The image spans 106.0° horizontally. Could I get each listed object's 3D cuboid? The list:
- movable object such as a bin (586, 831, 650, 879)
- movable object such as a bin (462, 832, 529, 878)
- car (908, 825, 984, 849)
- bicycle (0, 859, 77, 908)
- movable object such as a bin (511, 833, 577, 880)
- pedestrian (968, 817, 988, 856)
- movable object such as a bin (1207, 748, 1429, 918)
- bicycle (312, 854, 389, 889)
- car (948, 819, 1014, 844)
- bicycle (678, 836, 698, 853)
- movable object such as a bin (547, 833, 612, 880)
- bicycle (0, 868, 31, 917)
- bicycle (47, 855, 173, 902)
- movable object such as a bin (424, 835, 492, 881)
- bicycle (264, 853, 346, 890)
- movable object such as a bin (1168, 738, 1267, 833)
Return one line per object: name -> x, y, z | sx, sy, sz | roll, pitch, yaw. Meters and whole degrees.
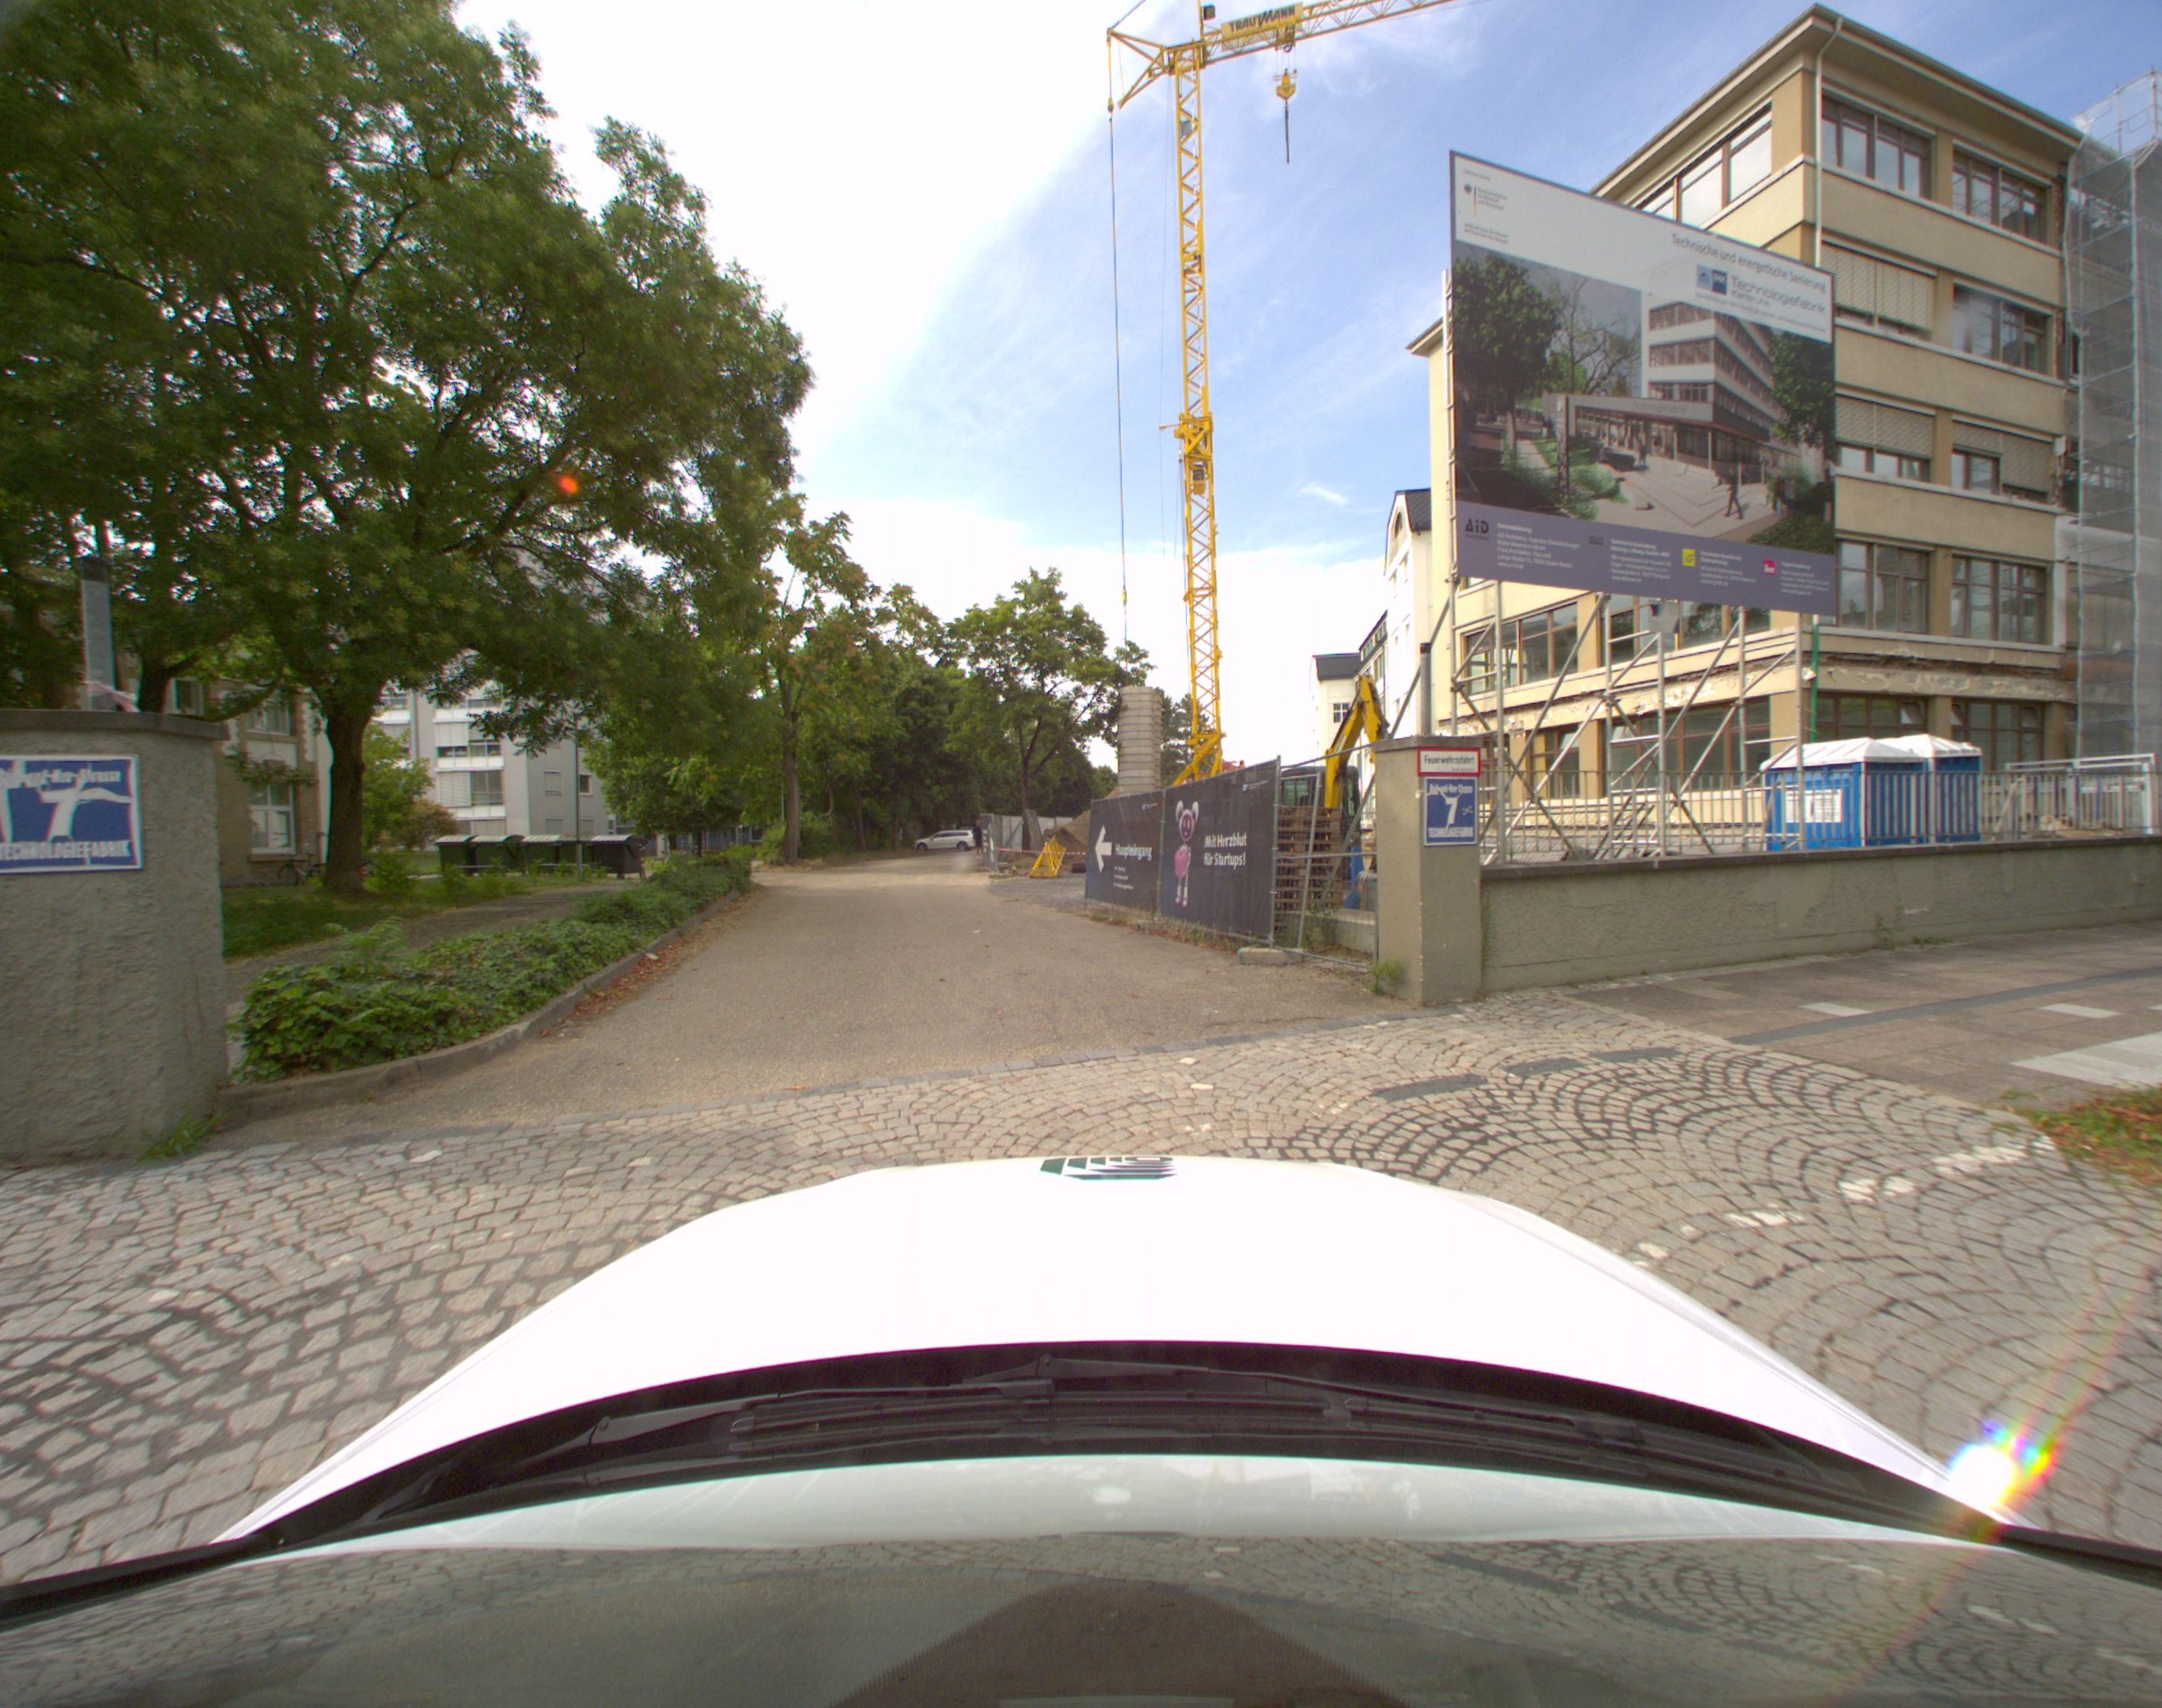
movable object such as a bin -> -14.427, 0.033, 25.408 | 1.272, 1.430, 1.125 | -1, 2, 9
movable object such as a bin -> -18.831, 0.011, 26.233 | 1.272, 1.430, 1.125 | -1, 2, 9
car -> -9.286, -1.190, 56.139 | 4.772, 1.488, 2.002 | -1, 2, 3
bicycle -> -24.281, 0.682, 18.637 | 1.961, 1.043, 0.596 | -1, 3, 6
movable object such as a bin -> -17.225, 0.071, 26.152 | 1.272, 1.430, 1.125 | -1, 2, 9
pedestrian -> -4.776, -0.817, 37.630 | 0.744, 1.789, 0.732 | -1, 2, 3
movable object such as a bin -> 3.752, -0.381, 13.497 | 2.489, 2.442, 3.053 | -2, 2, -9
bicycle -> -23.189, 0.541, 25.854 | 1.961, 1.043, 0.596 | -1, 3, 6
car -> -8.219, -1.888, 67.486 | 5.019, 1.953, 2.004 | -1, 2, 7
bicycle -> -29.535, -0.743, 61.288 | 0.648, 1.181, 1.898 | -1, 2, -4
movable object such as a bin -> -15.907, 0.056, 25.841 | 1.272, 1.430, 1.125 | -1, 2, 9
bicycle -> -24.333, 0.861, 17.857 | 1.961, 1.043, 0.596 | -1, 3, 6
bicycle -> -24.353, 0.609, 20.465 | 1.976, 1.043, 0.591 | -2, 3, -17
movable object such as a bin -> -20.194, 0.122, 26.416 | 1.272, 1.430, 1.125 | -1, 2, 9
bicycle -> -23.323, 0.530, 24.496 | 1.961, 1.043, 0.596 | -1, 3, 6
movable object such as a bin -> 10.815, -5.087, 63.096 | 3.807, 6.667, 11.059 | 0, 3, 31
